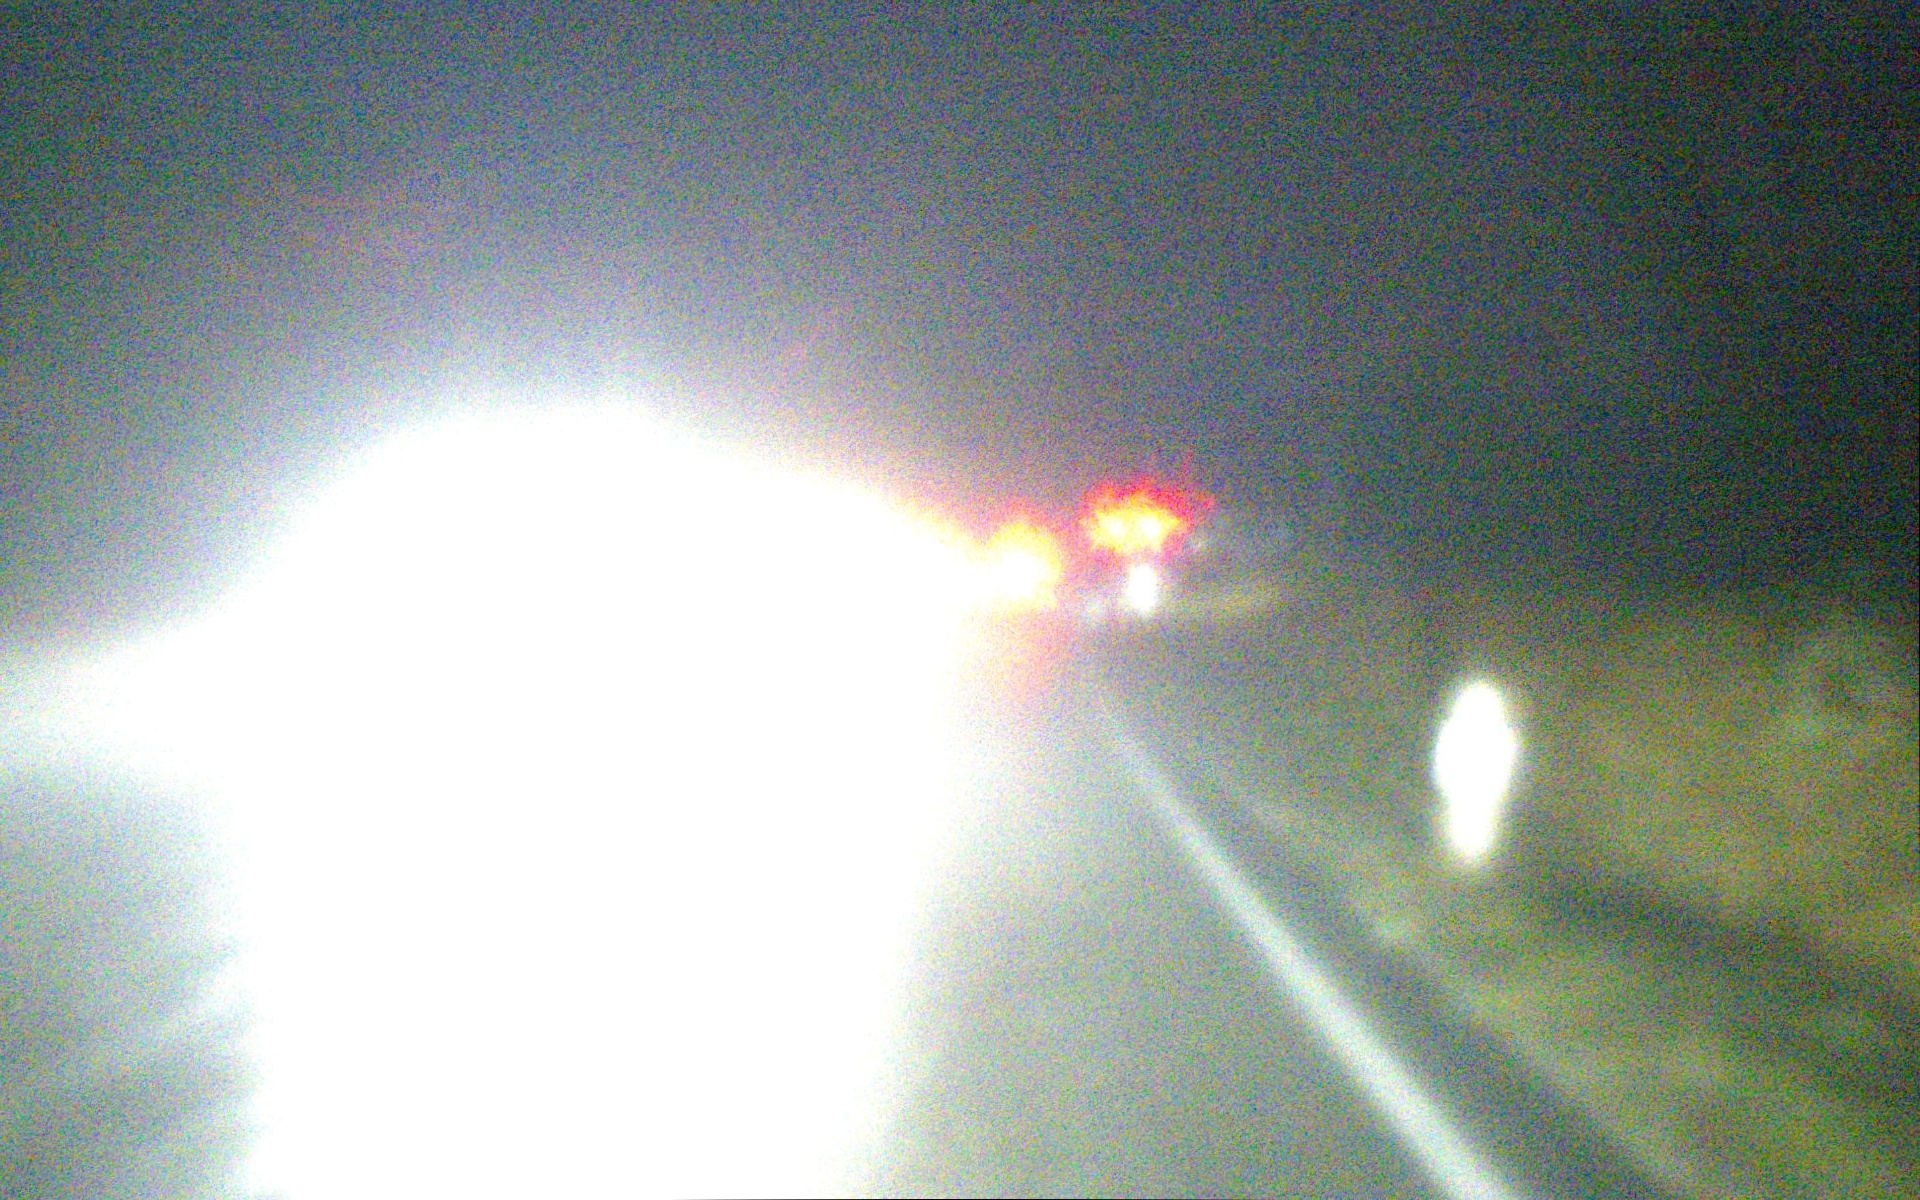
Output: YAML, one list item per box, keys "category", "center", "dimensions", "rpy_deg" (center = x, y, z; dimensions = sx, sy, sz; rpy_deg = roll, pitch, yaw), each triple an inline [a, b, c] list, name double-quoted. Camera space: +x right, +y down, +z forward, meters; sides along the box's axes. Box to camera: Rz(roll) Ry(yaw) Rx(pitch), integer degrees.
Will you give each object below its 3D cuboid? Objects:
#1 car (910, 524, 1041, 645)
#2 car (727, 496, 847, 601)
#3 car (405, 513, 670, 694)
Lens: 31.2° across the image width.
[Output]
- category: "car"
  center: [0.273, -0.269, 52.437]
  dimensions: [1.842, 1.734, 4.000]
  rpy_deg: [0, 2, 2]
- category: "car"
  center: [-3.482, -1.064, 69.811]
  dimensions: [1.994, 2.007, 4.275]
  rpy_deg: [-1, 1, 2]
- category: "car"
  center: [-3.992, -0.004, 33.094]
  dimensions: [1.993, 1.618, 4.000]
  rpy_deg: [0, 1, 1]
